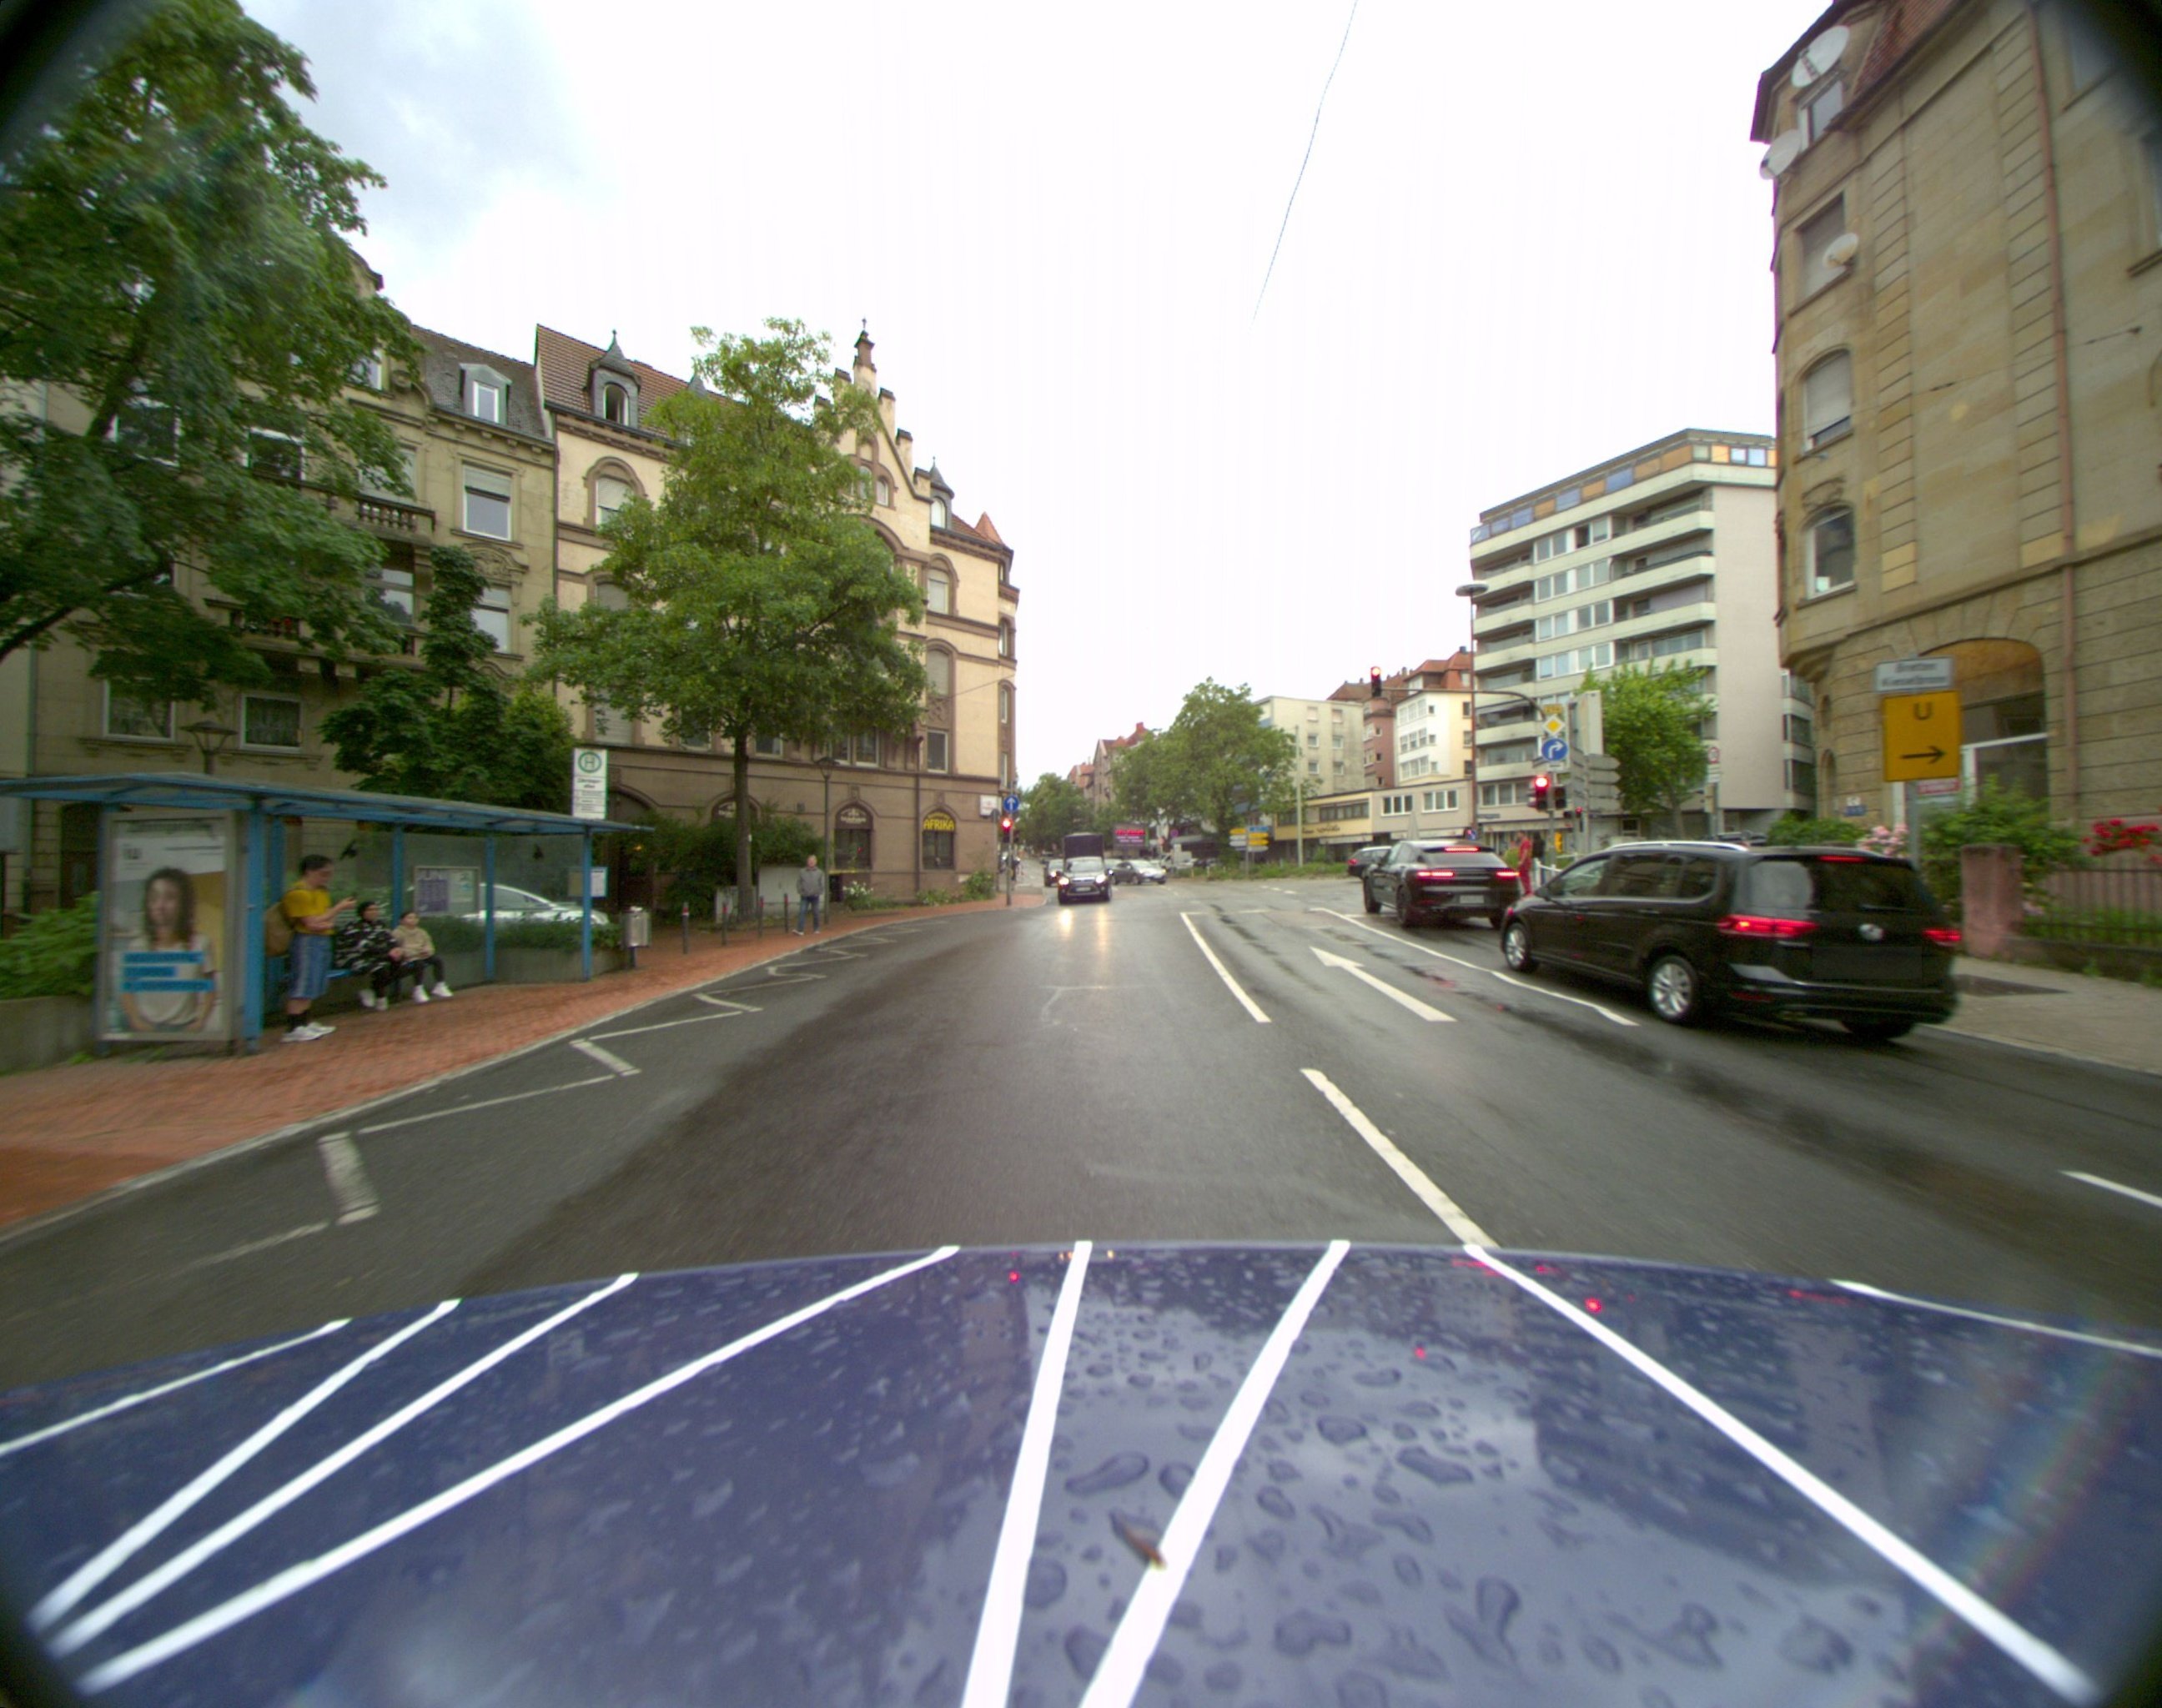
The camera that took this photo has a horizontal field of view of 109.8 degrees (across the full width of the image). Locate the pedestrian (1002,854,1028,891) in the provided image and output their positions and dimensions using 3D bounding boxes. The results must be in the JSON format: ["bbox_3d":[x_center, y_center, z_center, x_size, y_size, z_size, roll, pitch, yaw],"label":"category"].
[{"bbox_3d":[-3.007,0.821,34.575,0.895,1.669,0.828,0,0,-35],"label":"pedestrian"}]

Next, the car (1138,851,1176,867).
[{"bbox_3d":[8.674,0.535,86.740,3.841,1.680,1.802,-1,2,-27],"label":"car"}]

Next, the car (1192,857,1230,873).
[{"bbox_3d":[12.837,1.034,74.683,3.628,1.408,1.626,-3,1,-38],"label":"car"}]

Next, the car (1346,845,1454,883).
[{"bbox_3d":[14.113,0.463,33.862,4.207,1.526,1.760,-2,0,16],"label":"car"}]

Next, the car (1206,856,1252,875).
[{"bbox_3d":[14.094,1.059,72.193,4.224,1.633,1.936,-3,1,-38],"label":"car"}]

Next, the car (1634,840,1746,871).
[{"bbox_3d":[33.137,0.101,41.490,4.383,1.482,1.917,-2,0,22],"label":"car"}]

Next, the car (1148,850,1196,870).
[{"bbox_3d":[9.791,0.656,81.701,4.983,1.966,1.876,-2,1,-28],"label":"car"}]

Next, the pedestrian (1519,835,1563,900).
[{"bbox_3d":[12.452,0.366,20.581,0.638,1.692,0.829,-2,0,3],"label":"pedestrian"}]

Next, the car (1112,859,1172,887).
[{"bbox_3d":[3.476,1.071,44.113,1.759,1.474,4.173,-1,0,-22],"label":"car"}]

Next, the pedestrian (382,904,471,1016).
[{"bbox_3d":[-7.905,1.270,9.190,0.570,1.272,0.535,-2,0,10],"label":"pedestrian"}]

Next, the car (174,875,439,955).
[{"bbox_3d":[-17.669,1.328,17.581,1.768,1.467,3.856,-2,0,22],"label":"car"}]

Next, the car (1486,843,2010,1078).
[{"bbox_3d":[6.043,0.763,7.774,1.624,1.639,4.421,3,1,4],"label":"car"}]

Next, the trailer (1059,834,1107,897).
[{"bbox_3d":[0.154,0.481,34.323,1.938,2.621,4.684,-1,0,2],"label":"trailer"}]

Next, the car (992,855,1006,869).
[{"bbox_3d":[-10.351,1.007,96.132,1.527,1.609,3.490,3,1,-9],"label":"car"}]

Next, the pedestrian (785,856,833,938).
[{"bbox_3d":[-5.927,0.930,16.585,0.572,1.723,0.733,-2,0,27],"label":"pedestrian"}]

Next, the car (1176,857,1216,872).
[{"bbox_3d":[11.643,1.027,76.868,3.711,1.408,1.807,-2,1,-34],"label":"car"}]

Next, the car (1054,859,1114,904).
[{"bbox_3d":[0.175,0.936,27.864,1.861,1.503,3.684,0,0,6],"label":"car"}]

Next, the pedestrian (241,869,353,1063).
[{"bbox_3d":[-7.538,1.040,7.311,0.559,1.765,0.546,-2,0,26],"label":"pedestrian"}]

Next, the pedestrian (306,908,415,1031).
[{"bbox_3d":[-8.053,1.270,8.509,0.570,1.272,0.619,-2,0,11],"label":"pedestrian"}]

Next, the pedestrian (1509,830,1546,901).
[{"bbox_3d":[11.354,0.286,19.350,0.523,1.763,0.694,-2,0,7],"label":"pedestrian"}]

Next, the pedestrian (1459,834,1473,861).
[{"bbox_3d":[24.237,-0.392,47.838,0.618,1.683,0.626,-2,1,35],"label":"pedestrian"}]

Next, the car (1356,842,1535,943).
[{"bbox_3d":[7.149,0.640,15.527,1.968,1.683,4.810,-1,1,9],"label":"car"}]

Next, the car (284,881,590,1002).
[{"bbox_3d":[-10.703,1.353,12.910,3.681,1.493,1.766,-4,0,-40],"label":"car"}]

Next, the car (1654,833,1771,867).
[{"bbox_3d":[30.767,-0.165,37.178,4.014,1.482,1.770,-2,-2,22],"label":"car"}]
